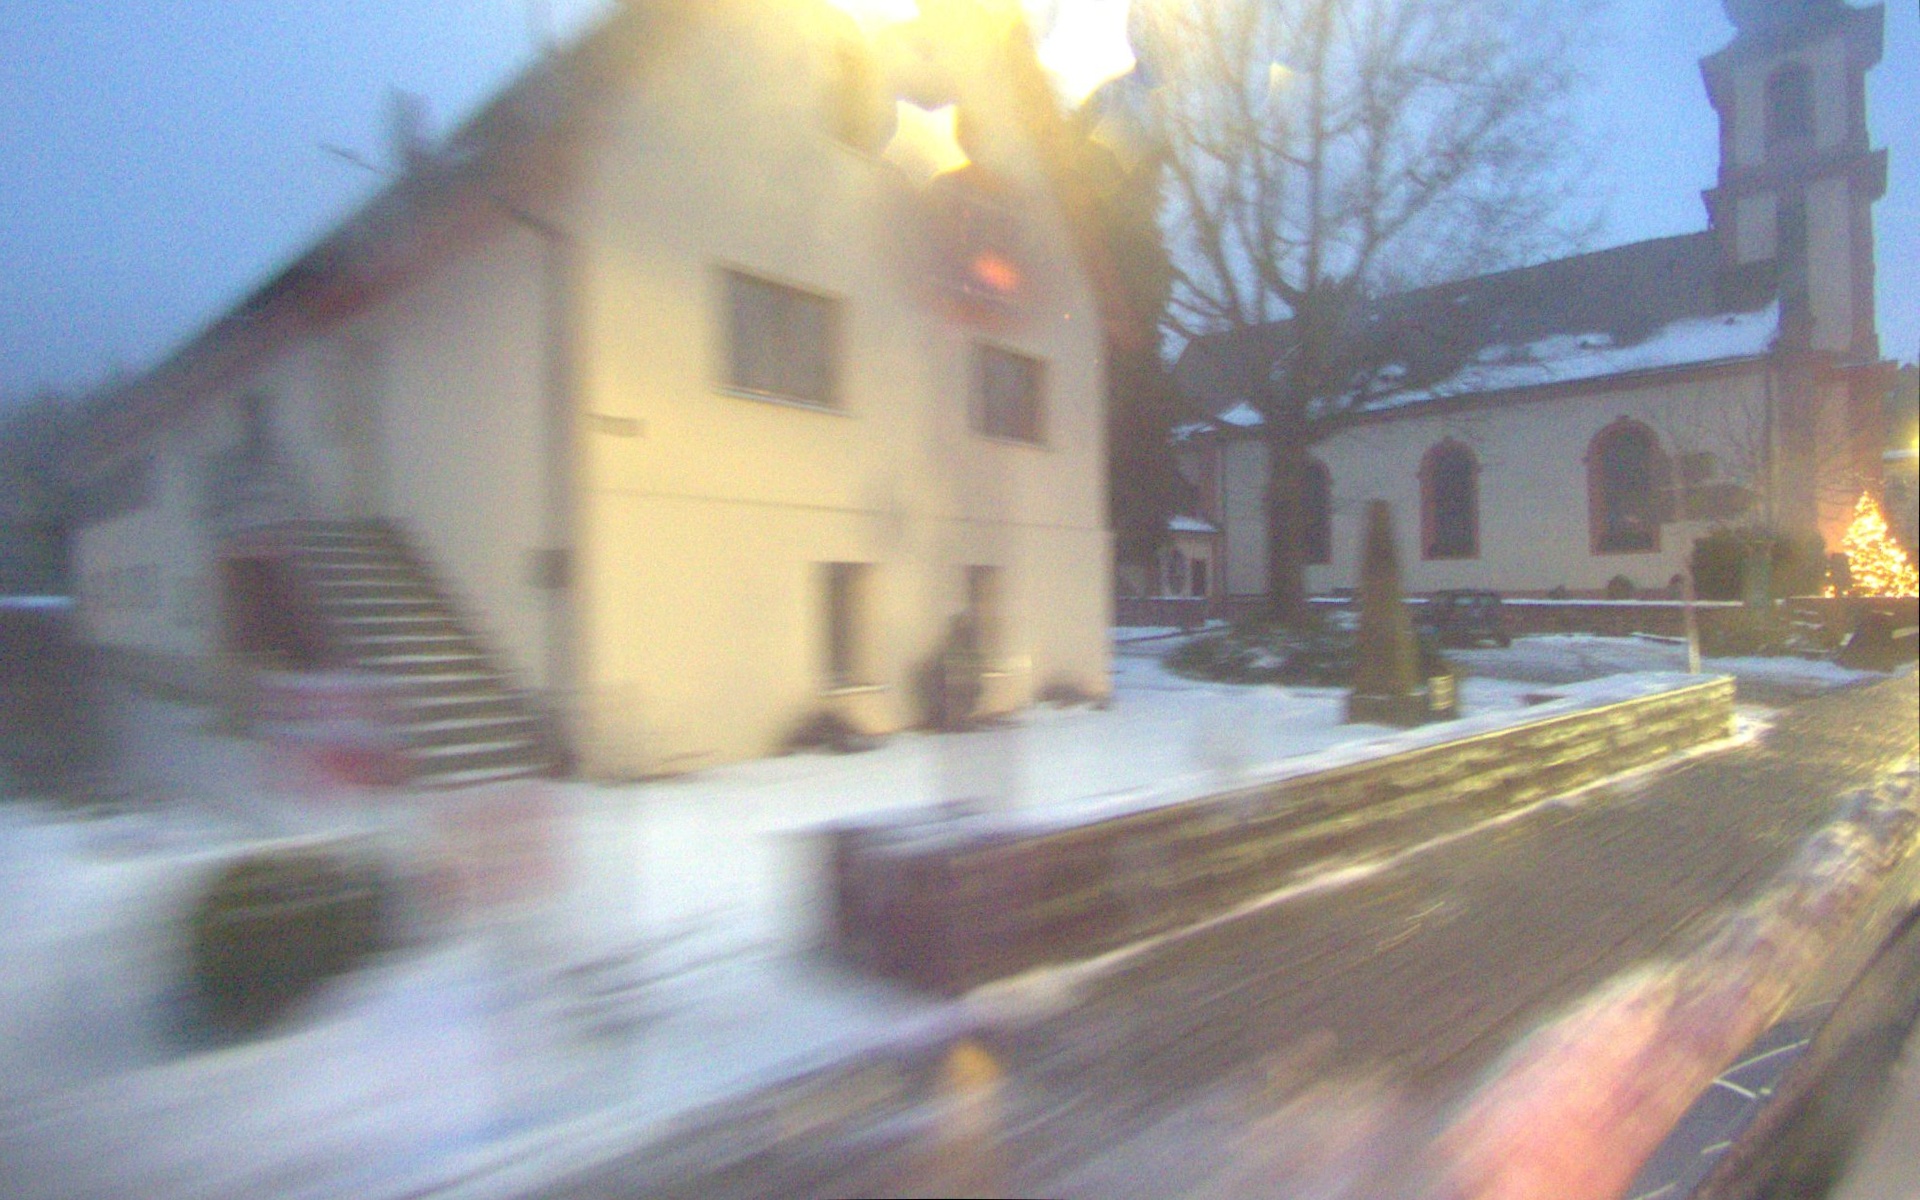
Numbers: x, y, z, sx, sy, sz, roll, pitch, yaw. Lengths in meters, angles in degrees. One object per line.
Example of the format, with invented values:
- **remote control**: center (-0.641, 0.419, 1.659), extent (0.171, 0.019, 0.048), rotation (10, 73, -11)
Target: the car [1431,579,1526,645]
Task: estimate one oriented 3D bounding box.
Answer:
- **car**: center (13.134, 0.241, 25.844), extent (1.735, 1.430, 4.054), rotation (0, 3, 21)
